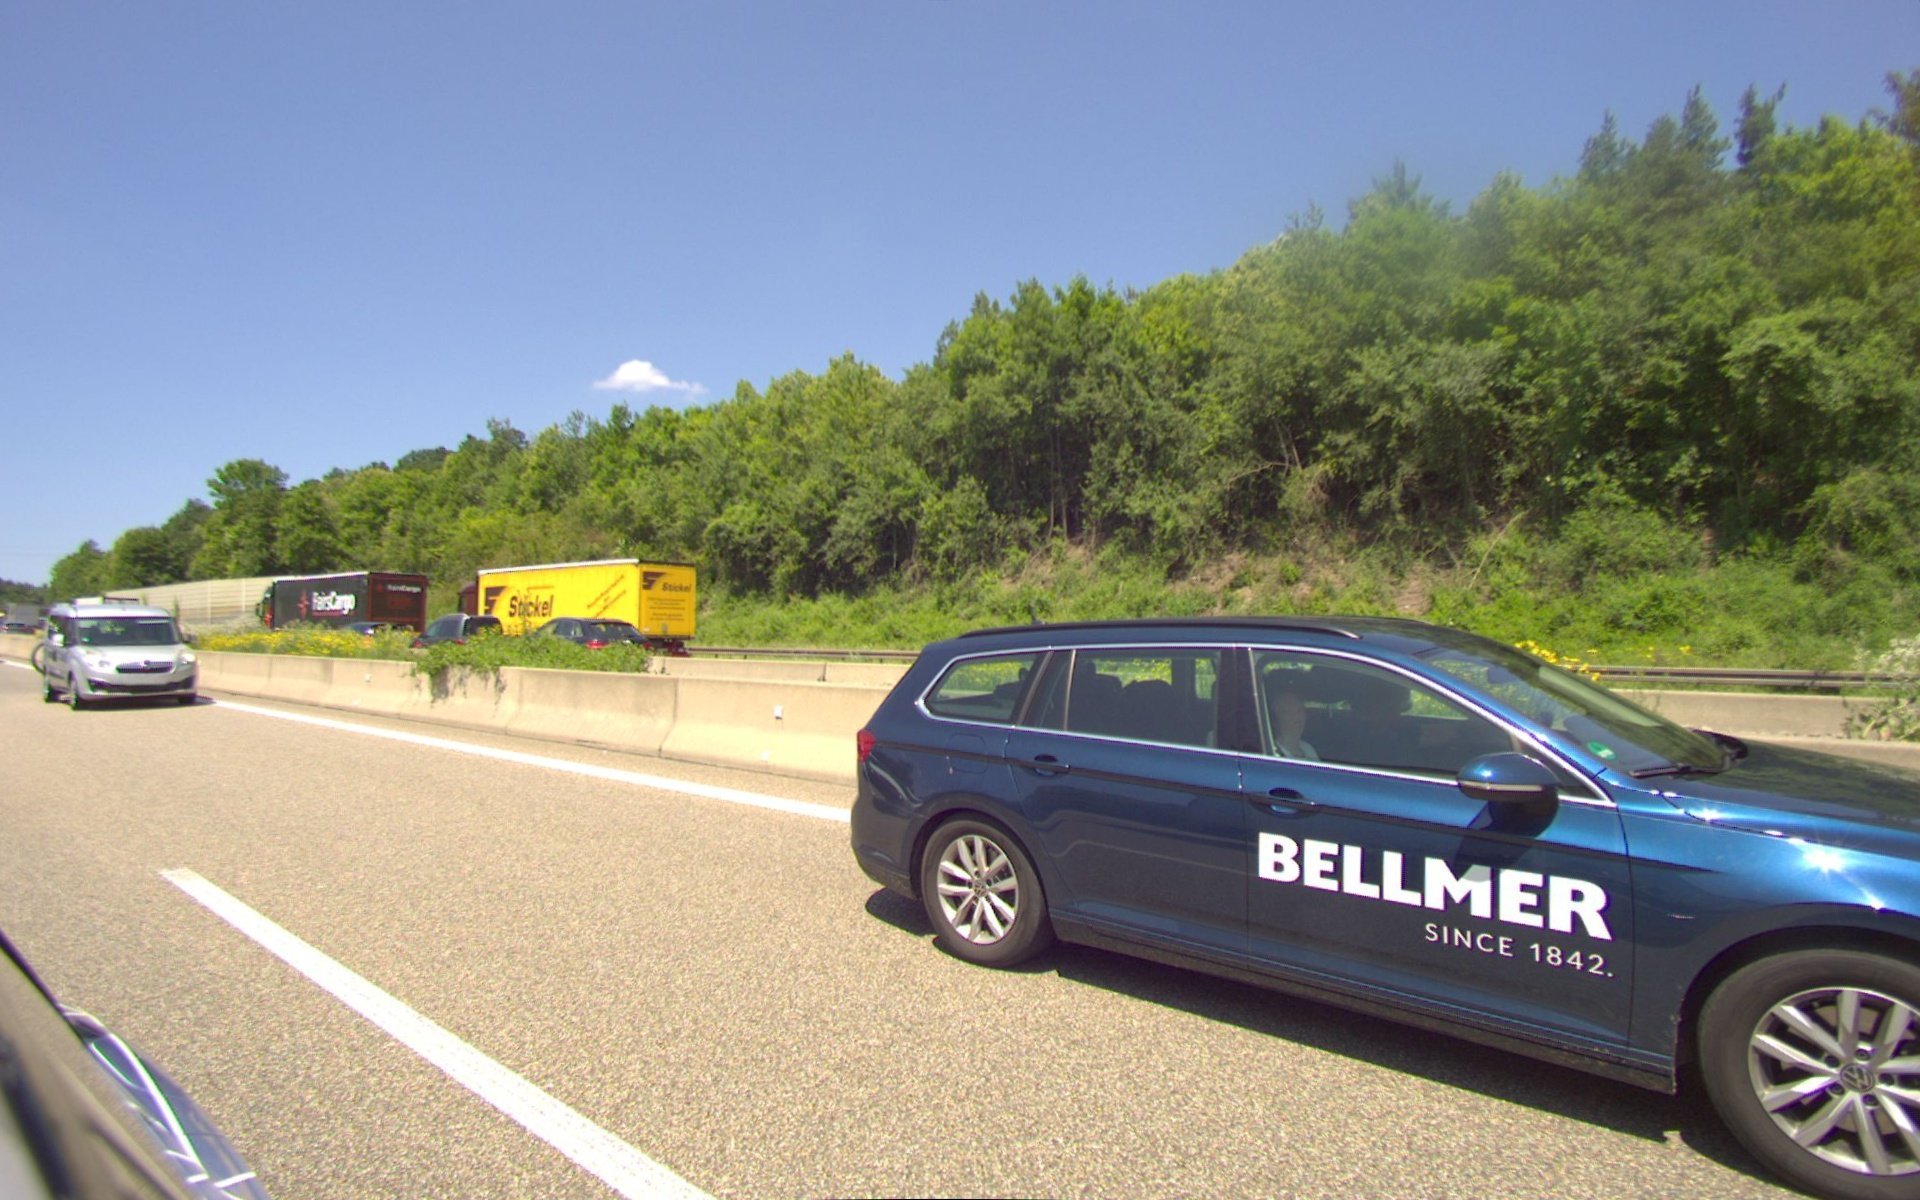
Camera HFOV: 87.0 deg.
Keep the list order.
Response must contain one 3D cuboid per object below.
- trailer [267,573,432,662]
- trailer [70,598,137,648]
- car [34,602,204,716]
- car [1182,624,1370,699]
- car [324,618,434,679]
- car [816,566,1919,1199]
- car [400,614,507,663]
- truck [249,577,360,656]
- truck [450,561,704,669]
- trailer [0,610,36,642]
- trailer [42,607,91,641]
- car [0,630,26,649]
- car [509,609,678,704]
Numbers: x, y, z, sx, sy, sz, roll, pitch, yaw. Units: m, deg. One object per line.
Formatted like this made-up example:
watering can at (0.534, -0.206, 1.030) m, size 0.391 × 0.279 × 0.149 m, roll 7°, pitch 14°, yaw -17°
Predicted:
trailer at (-31.167, 0.883, 51.210) m, size 13.881 × 4.004 × 2.876 m, roll 0°, pitch -3°, yaw 41°
trailer at (-80.328, 2.093, 94.742) m, size 14.032 × 4.371 × 2.773 m, roll 0°, pitch -3°, yaw 42°
car at (-15.452, 1.017, 18.522) m, size 3.998 × 1.858 × 1.757 m, roll -1°, pitch -2°, yaw 41°
car at (6.928, 1.303, 22.396) m, size 3.705 × 1.519 × 1.395 m, roll -2°, pitch -2°, yaw 41°
car at (-16.826, 1.377, 29.265) m, size 3.542 × 1.639 × 1.625 m, roll 0°, pitch -3°, yaw 41°
car at (1.673, 0.703, 3.789) m, size 4.728 × 1.438 × 1.714 m, roll -1°, pitch -3°, yaw 41°
car at (-17.249, 1.287, 34.381) m, size 4.420 × 1.570 × 1.667 m, roll 0°, pitch -3°, yaw 41°
truck at (-35.973, 0.905, 55.441) m, size 7.765 × 4.004 × 2.876 m, roll 0°, pitch -3°, yaw 41°
truck at (-17.217, 0.639, 44.138) m, size 16.258 × 4.013 × 3.005 m, roll 0°, pitch -2°, yaw 41°
trailer at (-132.430, 3.590, 141.814) m, size 14.734 × 4.197 × 2.805 m, roll -1°, pitch -3°, yaw 42°
trailer at (-112.820, 3.018, 127.689) m, size 12.619 × 4.078 × 2.778 m, roll 0°, pitch -3°, yaw 41°
car at (-78.602, 3.259, 83.659) m, size 3.998 × 1.530 × 1.547 m, roll -2°, pitch -3°, yaw 41°
car at (-8.603, 1.263, 23.626) m, size 3.998 × 2.029 × 1.972 m, roll 0°, pitch -3°, yaw 41°
